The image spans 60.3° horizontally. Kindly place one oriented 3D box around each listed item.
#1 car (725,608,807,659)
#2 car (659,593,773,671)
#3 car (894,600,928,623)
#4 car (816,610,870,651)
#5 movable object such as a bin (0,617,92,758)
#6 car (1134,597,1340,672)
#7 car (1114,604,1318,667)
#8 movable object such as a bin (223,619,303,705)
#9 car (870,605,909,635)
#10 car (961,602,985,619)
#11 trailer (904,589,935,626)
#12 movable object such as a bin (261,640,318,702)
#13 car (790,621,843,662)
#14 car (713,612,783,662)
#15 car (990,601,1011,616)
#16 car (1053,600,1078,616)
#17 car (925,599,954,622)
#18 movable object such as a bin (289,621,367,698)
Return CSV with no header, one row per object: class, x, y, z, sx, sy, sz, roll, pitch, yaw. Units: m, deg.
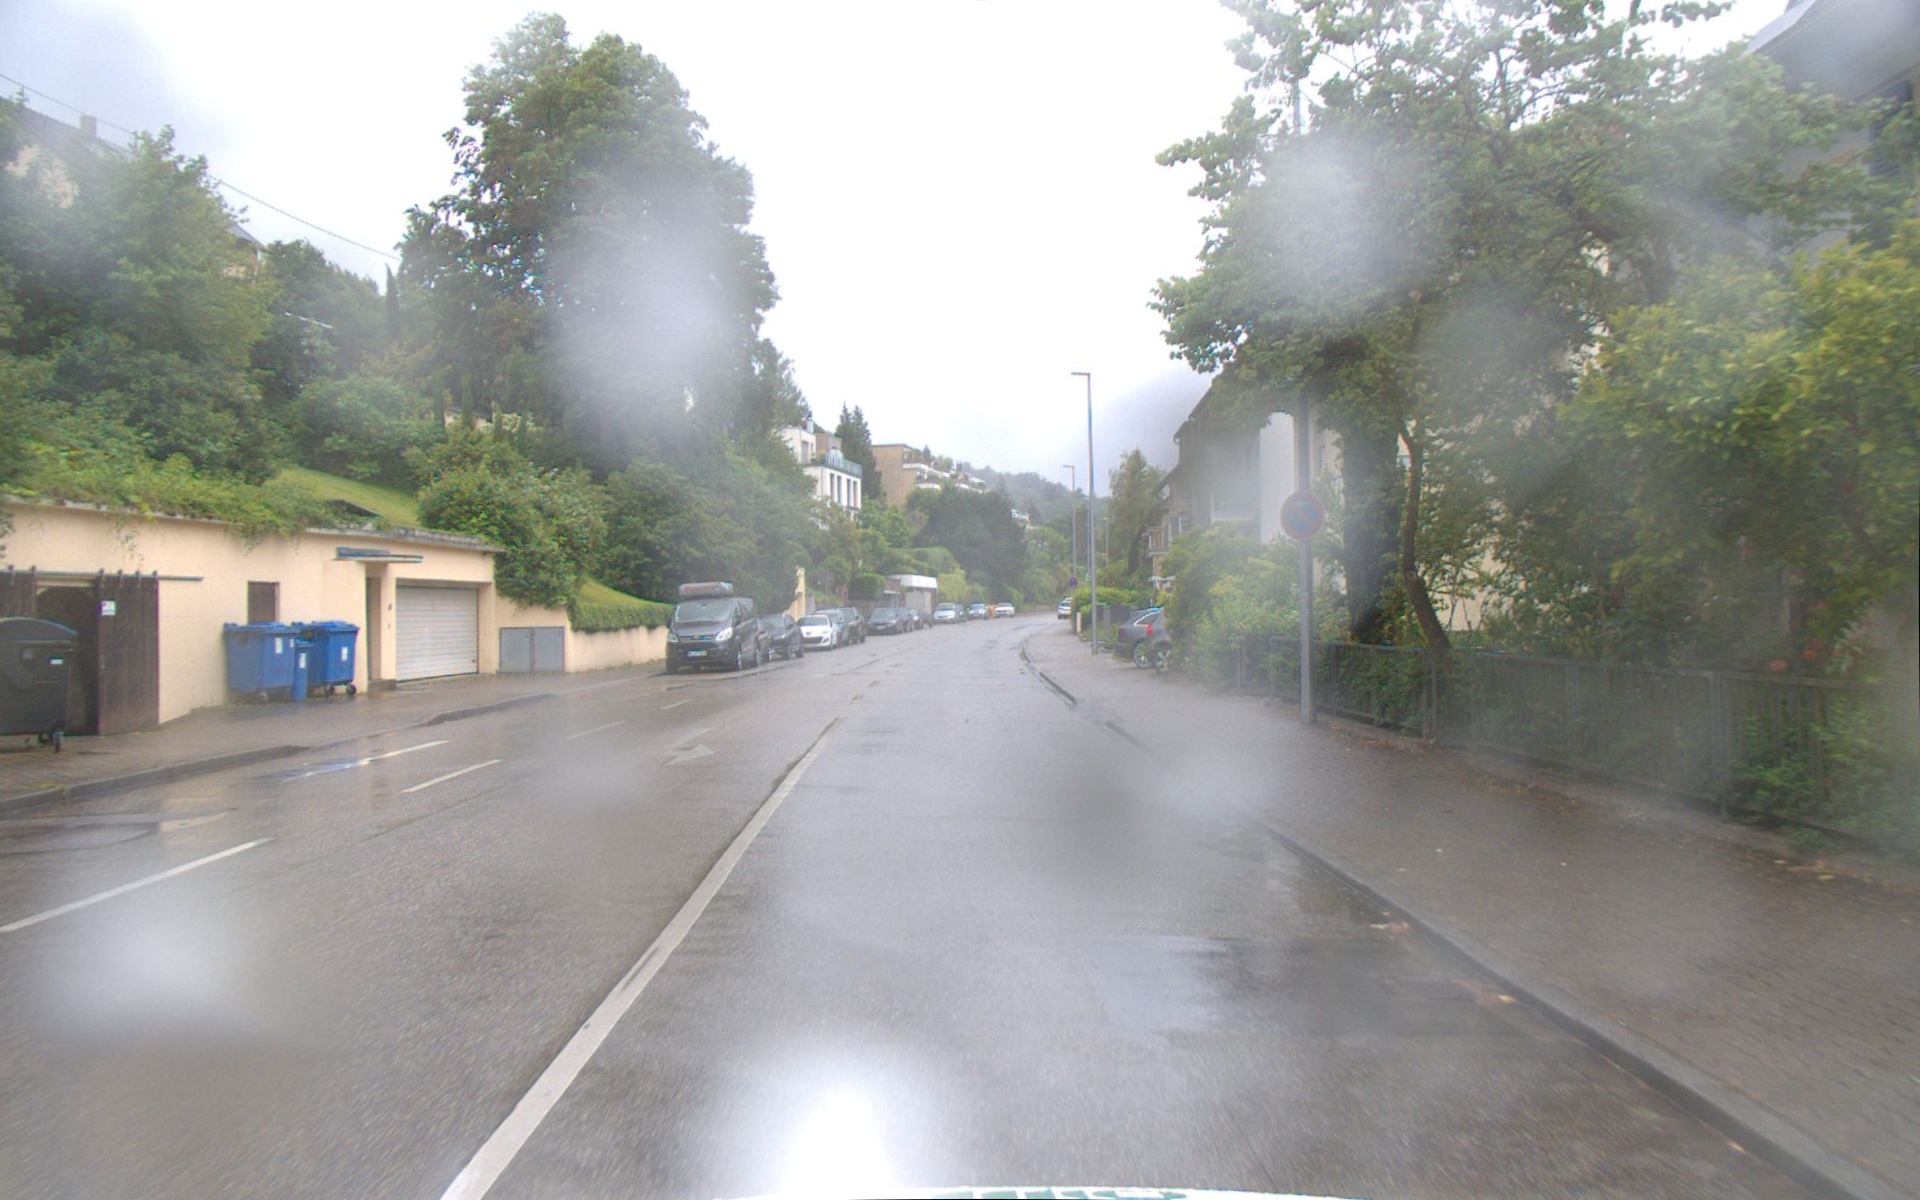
car,-6.485,1.091,55.660,1.869,1.506,4.757,-4,-1,3
car,-6.584,0.842,45.277,2.114,1.952,5.324,-2,0,2
car,-3.171,0.745,107.332,1.770,1.373,3.778,-3,0,4
car,-5.396,1.379,76.932,1.835,1.654,4.595,-4,0,3
movable object such as a bin,-10.185,0.937,18.050,0.913,1.471,0.861,2,-2,-2
car,5.841,0.725,35.028,3.918,1.482,1.766,-1,0,35
car,5.897,0.812,38.325,4.292,1.388,1.913,-1,-1,35
movable object such as a bin,-11.770,1.036,27.965,0.803,1.406,1.135,0,0,4
car,-4.023,1.116,94.897,1.748,1.480,4.757,-4,0,3
car,1.176,0.931,149.805,1.719,1.427,3.772,-4,0,6
trailer,-2.735,0.491,113.083,1.504,2.441,3.075,-3,0,8
movable object such as a bin,-11.744,1.232,28.979,0.720,1.060,0.608,0,-1,4
car,-5.782,1.653,66.929,1.681,1.389,4.084,-4,1,0
car,-6.467,1.100,50.744,1.532,1.388,3.907,-3,0,0
car,4.176,0.871,168.765,1.718,1.524,4.223,-2,-1,7
car,9.543,0.720,149.537,1.751,1.485,4.312,-1,0,9
car,-1.558,0.788,127.132,1.719,1.566,3.759,-4,0,6
movable object such as a bin,-11.561,1.073,30.293,0.803,1.337,1.403,0,0,4
